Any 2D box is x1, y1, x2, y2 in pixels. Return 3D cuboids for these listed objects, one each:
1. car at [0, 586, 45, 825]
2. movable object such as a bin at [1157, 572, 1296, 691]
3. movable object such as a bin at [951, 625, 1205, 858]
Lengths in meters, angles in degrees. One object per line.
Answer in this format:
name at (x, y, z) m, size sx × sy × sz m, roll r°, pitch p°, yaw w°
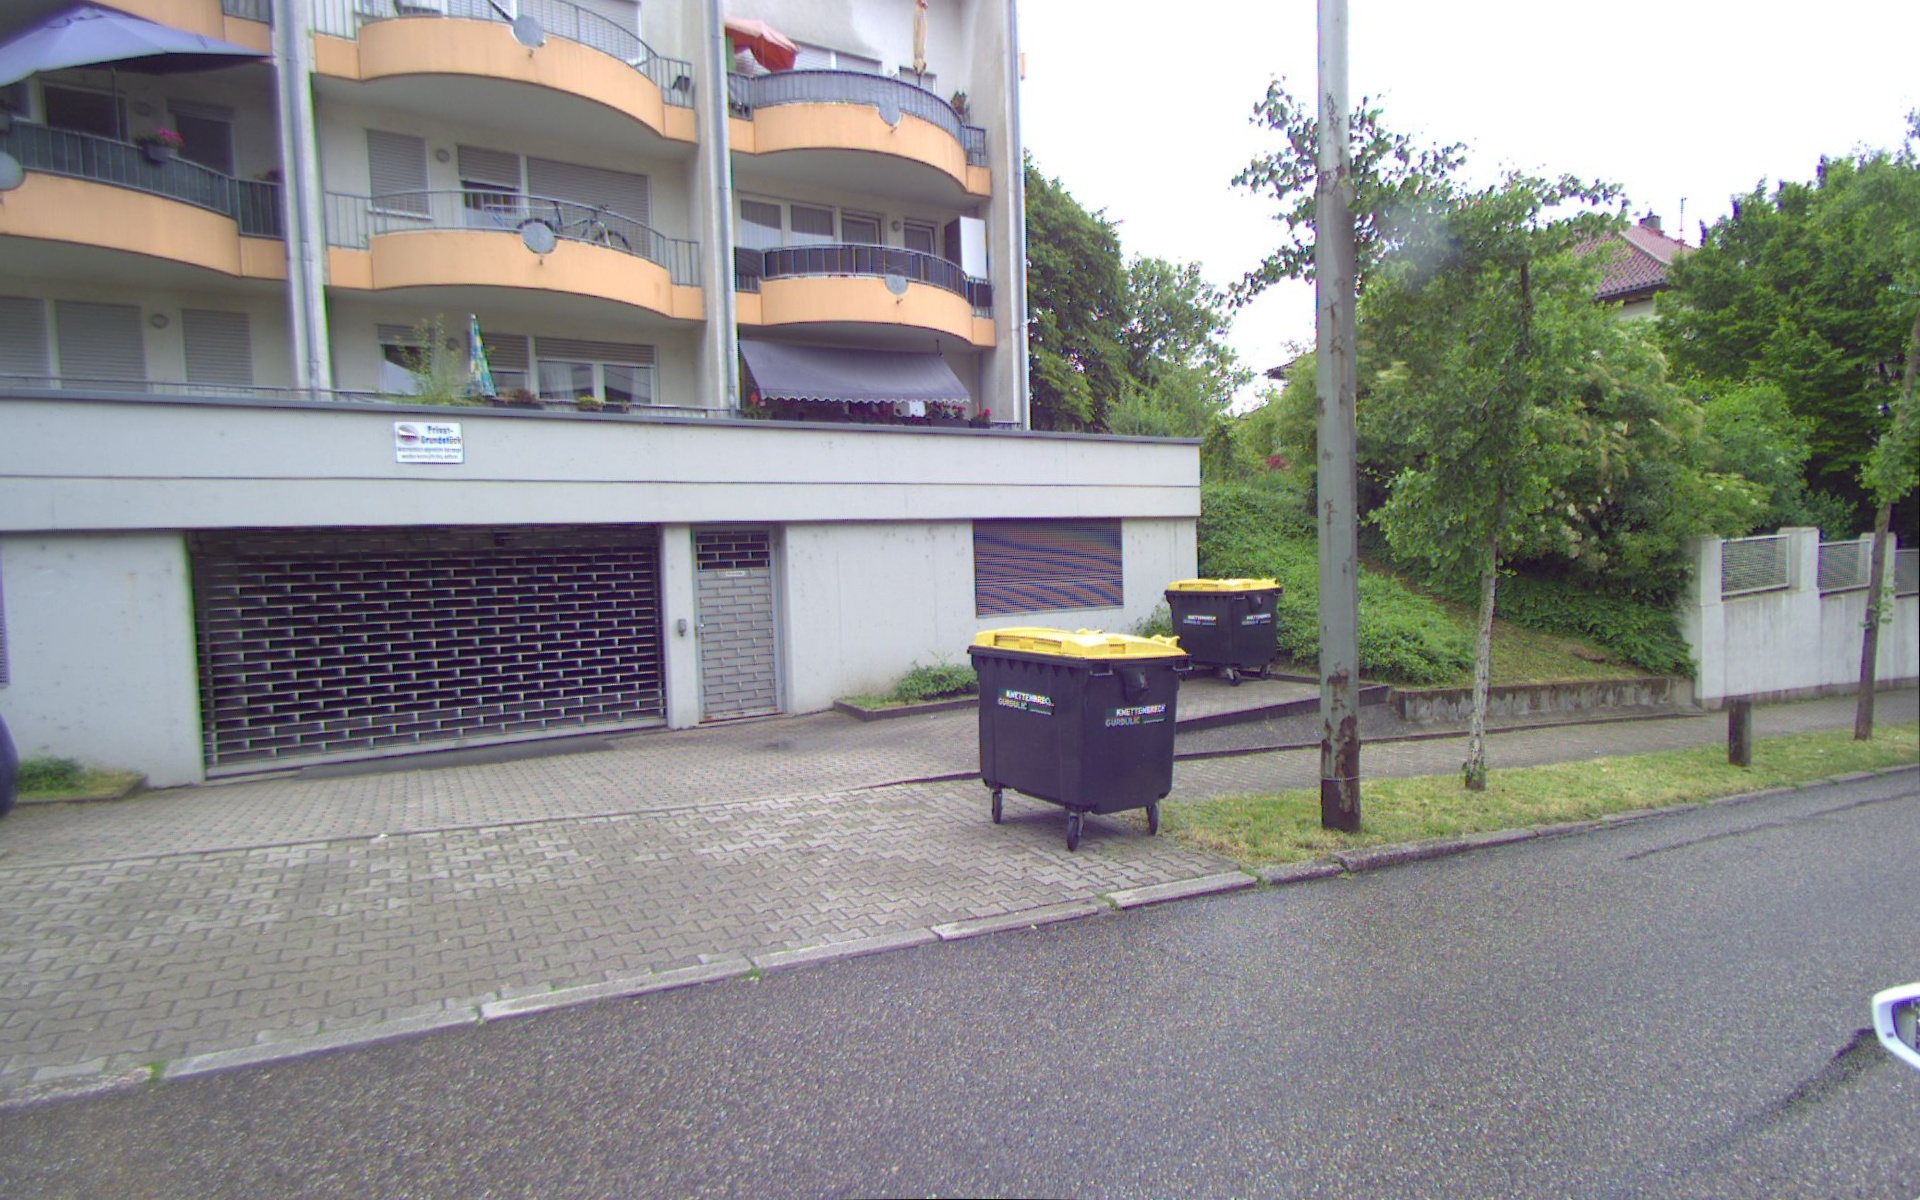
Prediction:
car at (-8.120, 0.672, 5.656) m, size 4.050 × 1.582 × 1.770 m, roll 1°, pitch -4°, yaw -31°
movable object such as a bin at (3.546, 0.372, 13.406) m, size 1.215 × 1.383 × 1.289 m, roll -7°, pitch 6°, yaw -36°
movable object such as a bin at (0.786, 0.873, 6.885) m, size 1.145 × 1.324 × 1.288 m, roll 0°, pitch 2°, yaw -38°
